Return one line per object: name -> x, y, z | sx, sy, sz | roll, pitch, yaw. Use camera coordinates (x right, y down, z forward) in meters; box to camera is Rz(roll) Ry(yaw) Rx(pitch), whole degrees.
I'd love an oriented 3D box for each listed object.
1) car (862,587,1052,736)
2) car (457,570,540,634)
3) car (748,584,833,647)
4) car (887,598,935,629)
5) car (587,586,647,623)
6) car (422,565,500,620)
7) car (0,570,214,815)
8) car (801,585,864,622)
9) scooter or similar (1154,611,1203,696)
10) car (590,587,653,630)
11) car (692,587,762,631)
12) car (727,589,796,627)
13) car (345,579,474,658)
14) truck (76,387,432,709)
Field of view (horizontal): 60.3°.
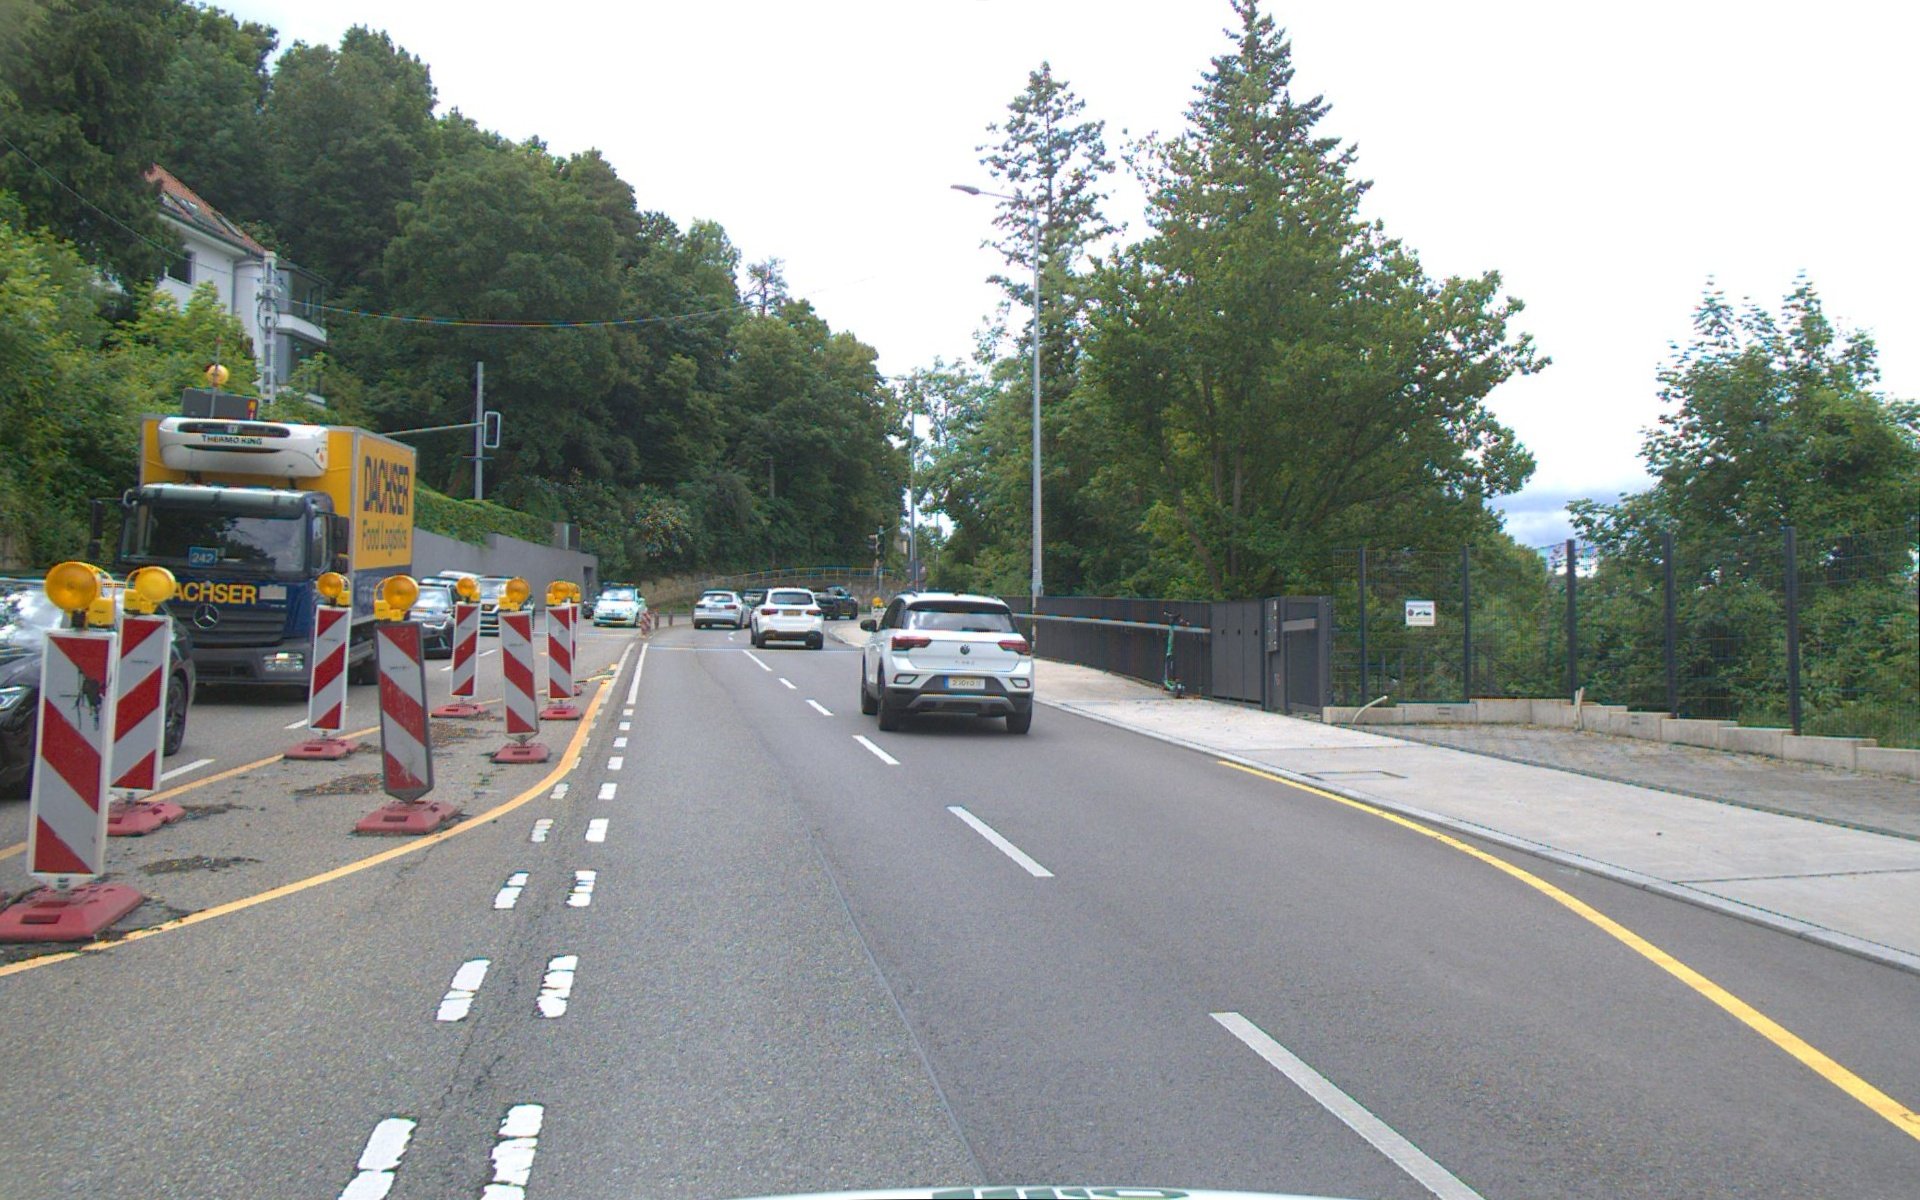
car -> -0.138, 0.667, 19.845 | 1.831, 1.563, 3.798 | 2, 0, -7
car -> -13.399, 0.054, 48.256 | 1.849, 1.726, 4.660 | 2, 0, -10
car -> -4.784, 0.410, 46.275 | 1.958, 1.614, 3.990 | 3, 0, -11
car -> -2.920, 0.811, 99.343 | 1.777, 1.719, 4.003 | 3, 0, 14
car -> -14.953, 0.175, 72.246 | 1.675, 1.492, 3.662 | 3, 0, 3
car -> -17.756, -0.264, 59.000 | 1.824, 1.761, 4.753 | 4, 0, -8
car -> -7.064, 0.528, 12.113 | 1.738, 1.467, 4.734 | 3, 0, -10
car -> -6.451, 0.183, 84.121 | 1.777, 1.719, 4.002 | 3, 0, 16
scooter or similar -> 3.383, 0.812, 25.670 | 0.524, 1.248, 1.205 | 0, 1, -4
car -> -12.784, 0.310, 62.661 | 1.676, 1.492, 3.659 | 3, 0, -2
car -> -9.074, 0.357, 64.688 | 1.866, 1.601, 4.002 | 3, 0, 4
car -> -8.892, 0.386, 74.333 | 1.951, 1.568, 4.013 | 3, 0, 10
car -> -11.229, 0.327, 34.052 | 1.777, 1.455, 4.863 | 2, 0, -10
truck -> -9.138, -0.580, 22.381 | 2.681, 3.571, 7.333 | 1, 0, -10
